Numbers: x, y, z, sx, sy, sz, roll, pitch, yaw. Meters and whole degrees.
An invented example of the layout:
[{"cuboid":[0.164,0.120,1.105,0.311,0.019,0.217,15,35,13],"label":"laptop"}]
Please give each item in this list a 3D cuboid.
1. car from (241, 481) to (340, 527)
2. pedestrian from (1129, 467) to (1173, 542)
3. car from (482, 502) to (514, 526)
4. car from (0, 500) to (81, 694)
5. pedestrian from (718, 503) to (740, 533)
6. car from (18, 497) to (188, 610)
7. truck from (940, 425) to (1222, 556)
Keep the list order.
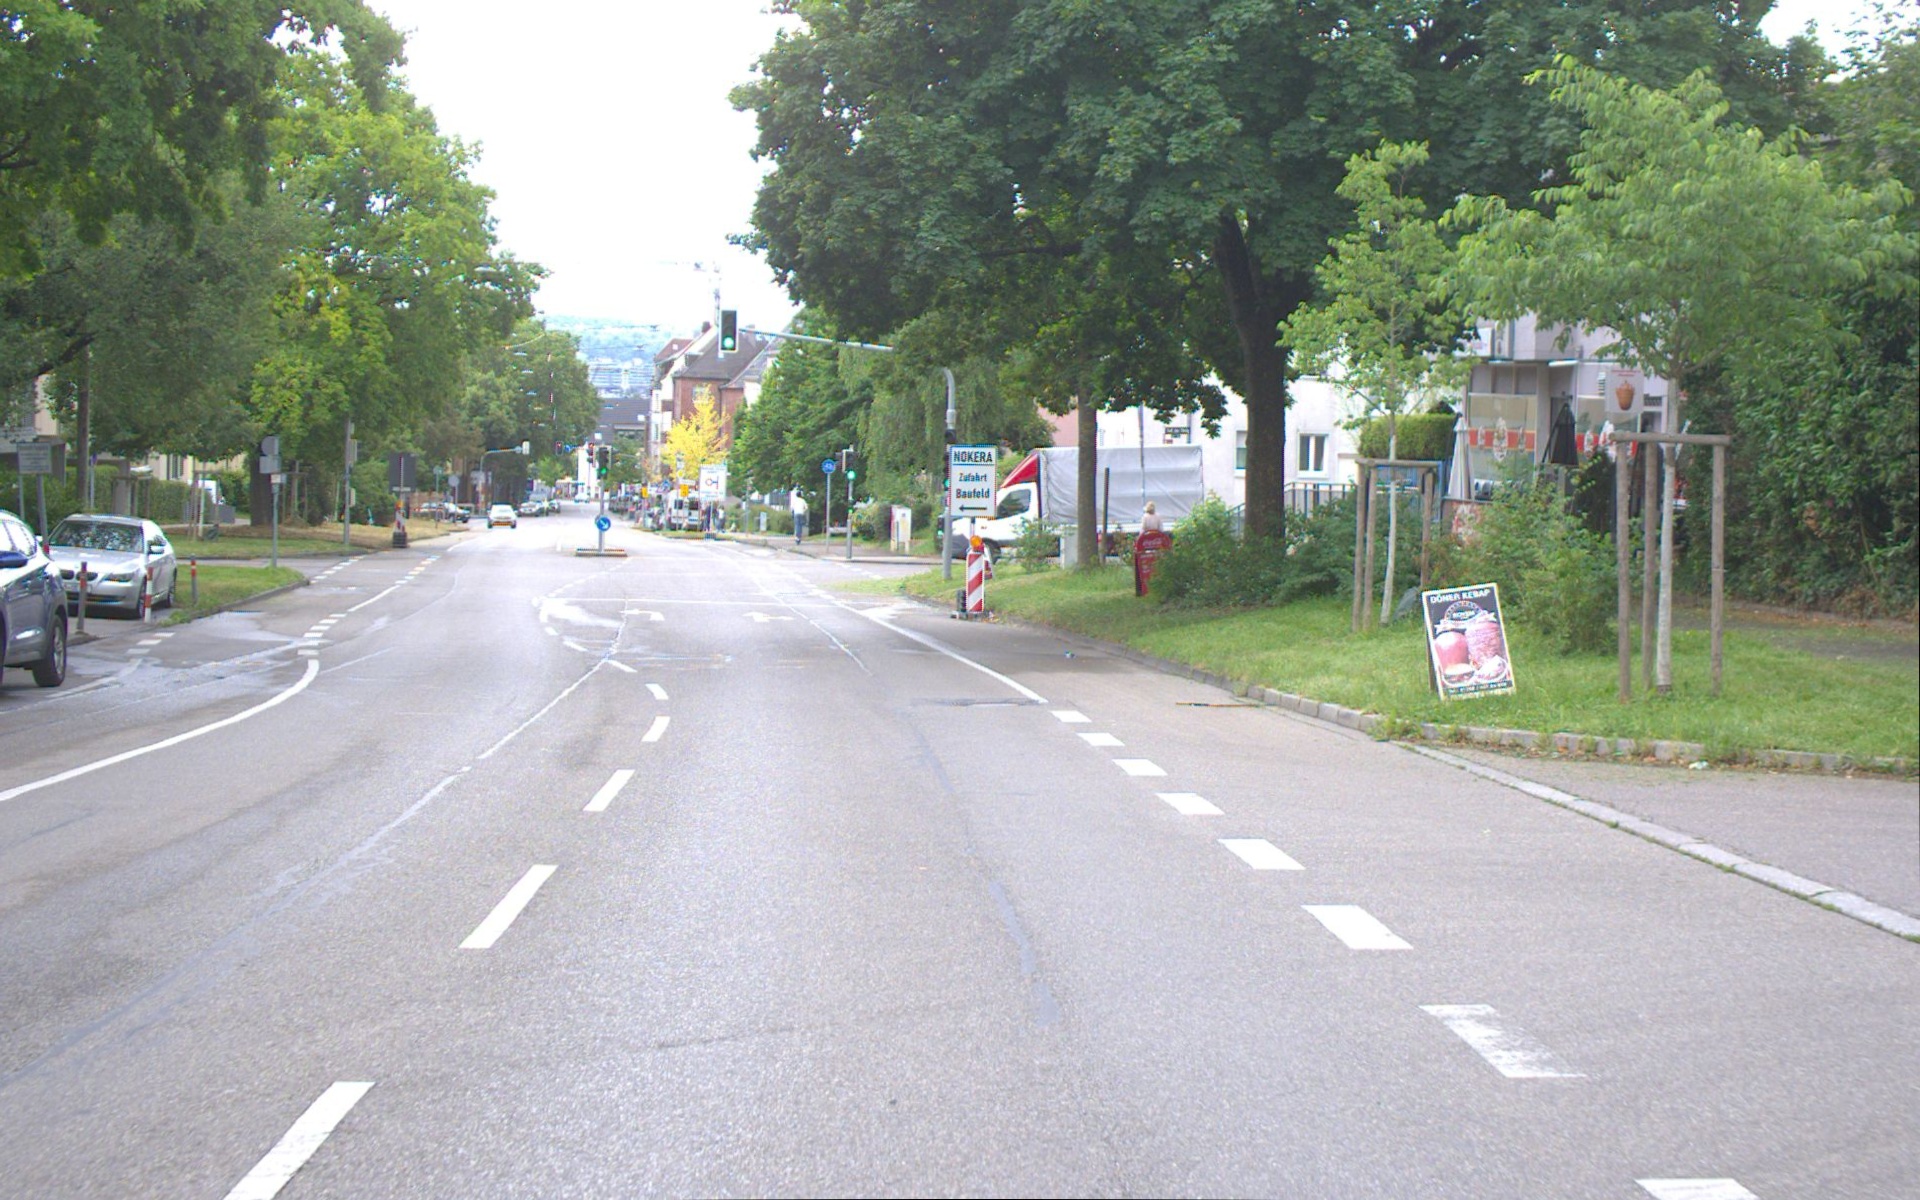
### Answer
[{"cuboid":[-24.902,-3.579,127.879,3.448,1.590,2.001,2,1,-7],"label":"car"},{"cuboid":[4.801,-2.398,86.359,0.747,1.848,0.955,-2,2,-20],"label":"pedestrian"},{"cuboid":[-30.235,-5.661,225.266,1.993,1.500,4.001,2,1,-7],"label":"car"},{"cuboid":[-9.232,-0.069,30.977,1.715,1.607,4.536,1,2,-4],"label":"car"},{"cuboid":[-13.967,-4.955,207.895,1.200,1.804,1.301,2,1,-5],"label":"pedestrian"},{"cuboid":[-13.290,-0.756,53.571,1.761,1.627,4.754,2,1,-5],"label":"car"},{"cuboid":[3.213,-2.931,92.567,7.225,3.295,2.541,1,2,-6],"label":"truck"}]
